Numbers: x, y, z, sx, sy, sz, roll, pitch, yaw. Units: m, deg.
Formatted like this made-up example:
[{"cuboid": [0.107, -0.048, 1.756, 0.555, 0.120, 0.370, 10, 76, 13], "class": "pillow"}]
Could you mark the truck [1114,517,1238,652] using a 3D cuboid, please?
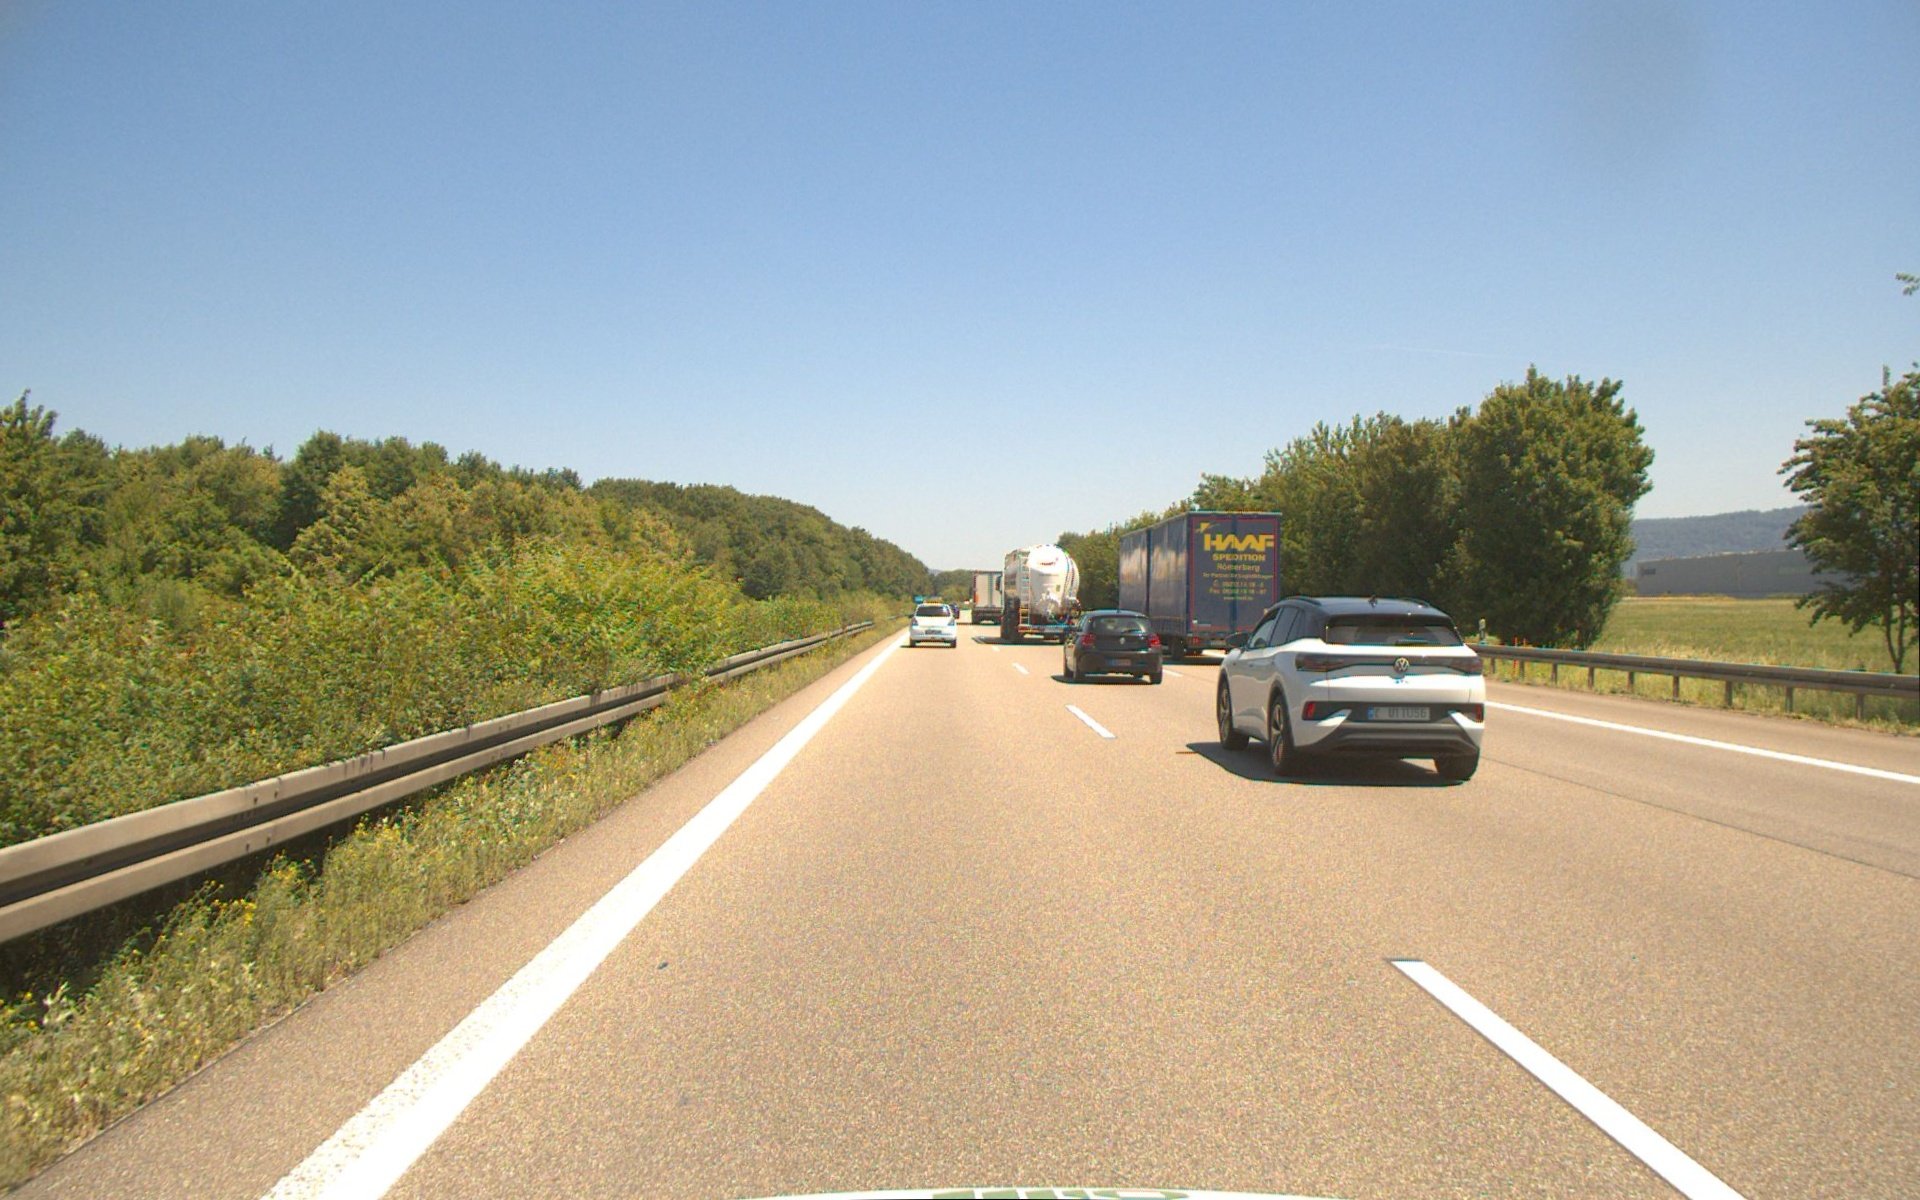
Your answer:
[{"cuboid": [7.200, -0.482, 56.387, 3.045, 4.211, 8.055, 1, 0, 0], "class": "truck"}]

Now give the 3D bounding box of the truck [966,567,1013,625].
[{"cuboid": [2.229, -0.290, 130.832, 3.325, 4.287, 12.081, 1, 0, 0], "class": "truck"}]

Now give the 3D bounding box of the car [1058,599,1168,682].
[{"cuboid": [3.064, 0.781, 33.868, 1.813, 1.549, 3.956, 1, 0, -1], "class": "car"}]

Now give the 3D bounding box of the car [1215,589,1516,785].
[{"cuboid": [3.777, 0.734, 16.216, 1.766, 1.631, 4.379, 1, 0, -1], "class": "car"}]

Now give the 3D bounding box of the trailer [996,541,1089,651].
[{"cuboid": [3.292, -0.169, 69.441, 2.853, 4.140, 12.414, 1, 0, -2], "class": "trailer"}]

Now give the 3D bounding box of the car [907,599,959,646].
[{"cuboid": [-0.994, 0.778, 58.775, 1.763, 1.579, 3.608, 1, 0, -2], "class": "car"}]

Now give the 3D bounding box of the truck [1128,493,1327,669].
[{"cuboid": [7.261, -0.469, 47.768, 3.045, 4.211, 15.509, 1, 0, 0], "class": "truck"}]

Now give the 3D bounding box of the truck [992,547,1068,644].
[{"cuboid": [3.121, -0.219, 75.465, 2.853, 4.150, 7.192, 1, 0, -2], "class": "truck"}]

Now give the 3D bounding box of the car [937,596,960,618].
[{"cuboid": [-1.267, 0.795, 184.525, 2.424, 2.395, 5.181, 1, 0, -1], "class": "car"}]
